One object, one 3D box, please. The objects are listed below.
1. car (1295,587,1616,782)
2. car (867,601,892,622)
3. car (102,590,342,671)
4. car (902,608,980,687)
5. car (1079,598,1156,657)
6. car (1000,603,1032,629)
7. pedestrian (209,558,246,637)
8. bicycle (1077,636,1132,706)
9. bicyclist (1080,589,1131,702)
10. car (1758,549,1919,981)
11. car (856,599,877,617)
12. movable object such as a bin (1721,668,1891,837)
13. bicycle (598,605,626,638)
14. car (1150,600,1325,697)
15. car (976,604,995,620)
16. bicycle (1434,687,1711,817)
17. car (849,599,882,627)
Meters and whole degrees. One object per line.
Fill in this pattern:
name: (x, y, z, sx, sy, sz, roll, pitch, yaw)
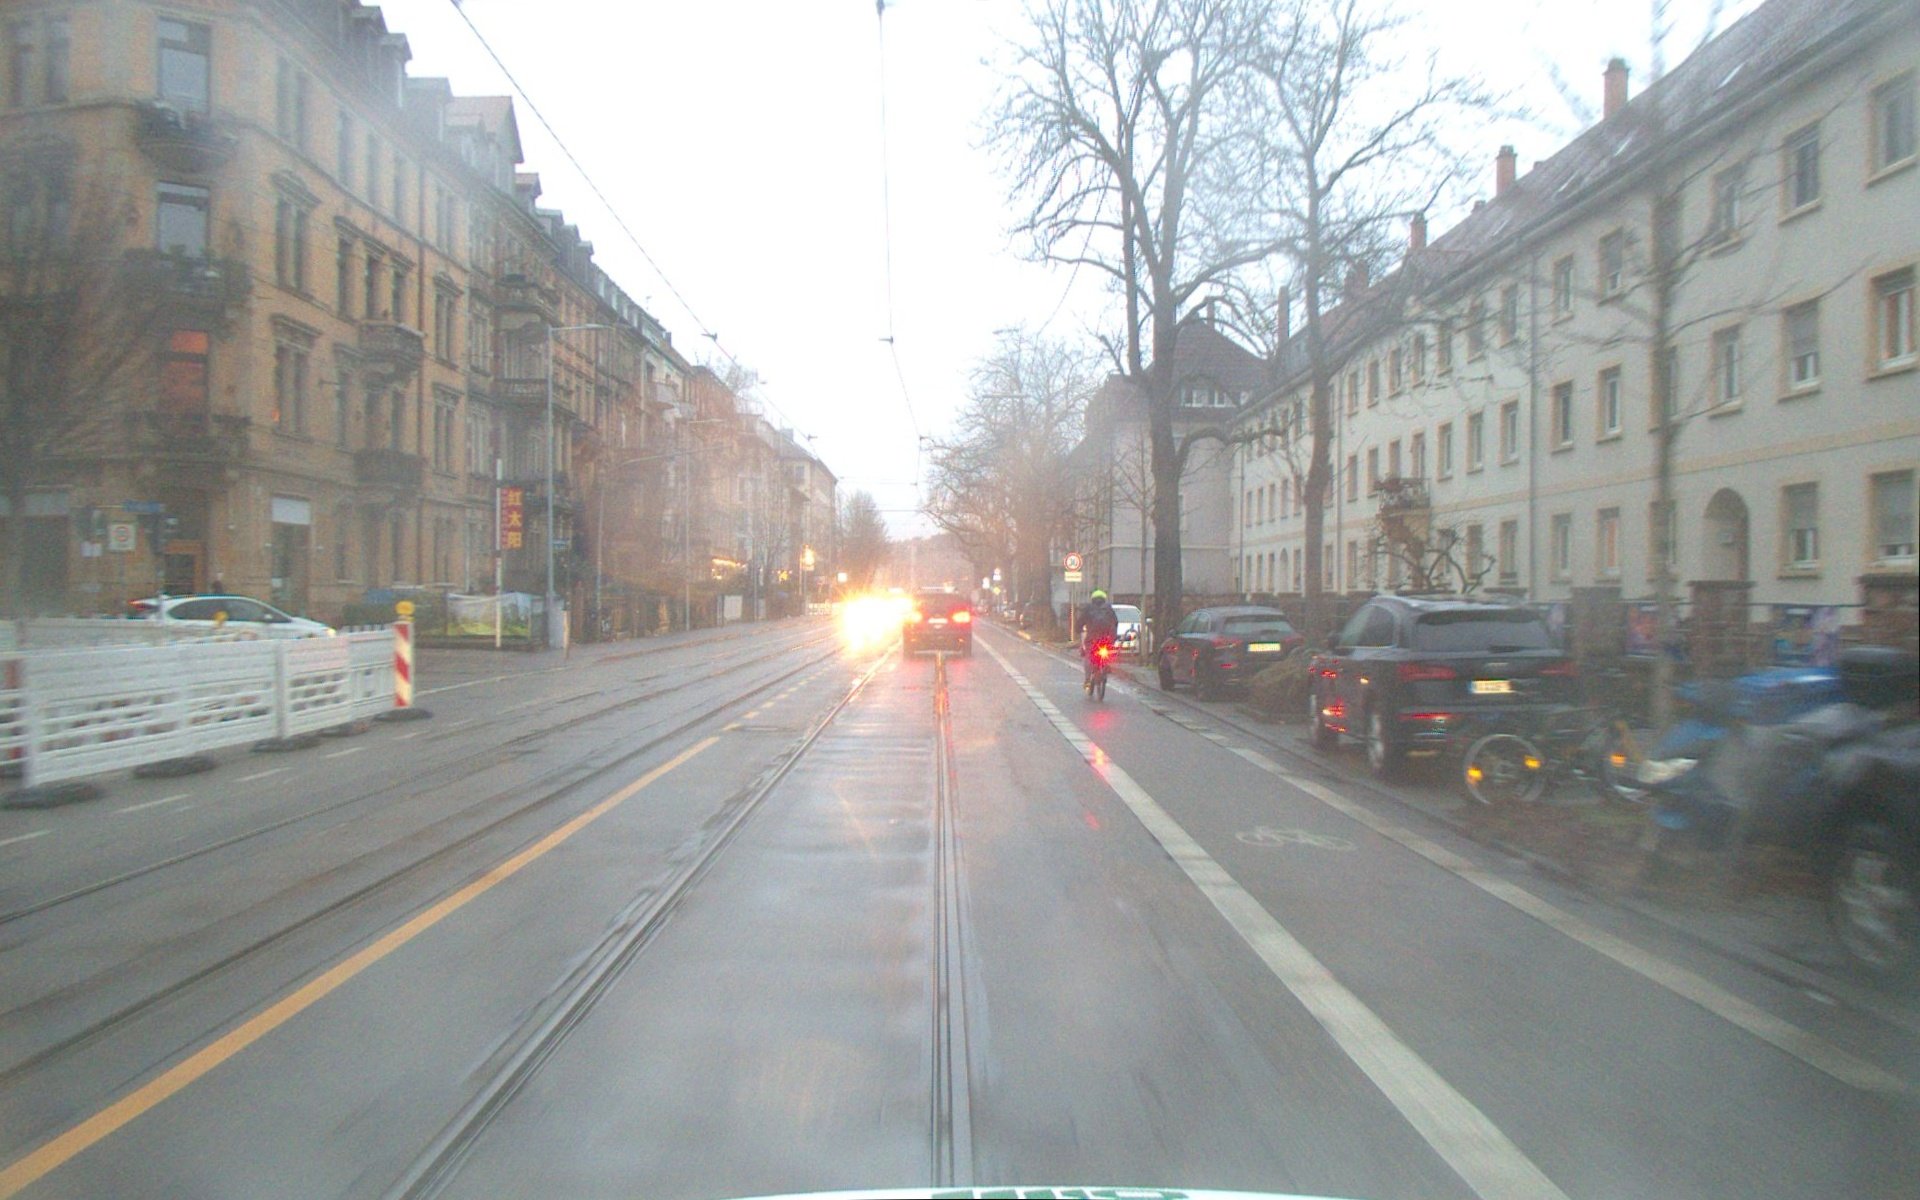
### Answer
car: (4.724, 0.729, 16.510, 1.866, 1.638, 4.561, 1, 0, 1)
car: (-6.422, 0.908, 132.517, 1.884, 1.691, 3.999, 1, 0, -1)
car: (-15.279, 0.628, 34.351, 4.138, 1.553, 1.969, 1, 0, -42)
car: (-0.462, 1.241, 44.518, 1.765, 1.903, 4.019, 4, 0, 2)
car: (4.289, 0.726, 45.646, 1.749, 1.536, 4.108, 1, 0, 0)
car: (3.414, 0.969, 101.504, 1.749, 1.536, 4.108, 1, 0, -1)
pedestrian: (-16.997, -0.067, 38.373, 0.711, 1.804, 0.763, 1, 0, -29)
bicycle: (2.295, 1.114, 26.396, 0.716, 1.024, 1.764, 1, 0, 0)
bicyclist: (2.307, 0.714, 26.331, 0.715, 1.767, 0.765, 1, 0, 0)
car: (4.873, 0.685, 5.606, 1.867, 1.758, 4.901, 1, 0, -1)
car: (-9.205, 0.766, 163.617, 1.884, 1.750, 3.999, 1, 0, -1)
movable object such as a bin: (5.433, 0.964, 10.644, 0.737, 0.970, 0.568, -4, 0, -7)
bicycle: (-11.105, 0.689, 52.846, 0.486, 1.024, 1.764, 1, 0, 0)
car: (4.478, 0.737, 27.332, 1.842, 1.444, 4.339, 0, 0, -5)
car: (2.473, 1.128, 160.246, 1.749, 1.536, 4.108, 1, 0, -1)
bicycle: (4.747, 1.169, 12.901, 1.970, 0.932, 0.465, 0, 0, 8)
car: (-5.952, 0.814, 104.493, 1.884, 1.691, 3.999, 1, 0, -1)
